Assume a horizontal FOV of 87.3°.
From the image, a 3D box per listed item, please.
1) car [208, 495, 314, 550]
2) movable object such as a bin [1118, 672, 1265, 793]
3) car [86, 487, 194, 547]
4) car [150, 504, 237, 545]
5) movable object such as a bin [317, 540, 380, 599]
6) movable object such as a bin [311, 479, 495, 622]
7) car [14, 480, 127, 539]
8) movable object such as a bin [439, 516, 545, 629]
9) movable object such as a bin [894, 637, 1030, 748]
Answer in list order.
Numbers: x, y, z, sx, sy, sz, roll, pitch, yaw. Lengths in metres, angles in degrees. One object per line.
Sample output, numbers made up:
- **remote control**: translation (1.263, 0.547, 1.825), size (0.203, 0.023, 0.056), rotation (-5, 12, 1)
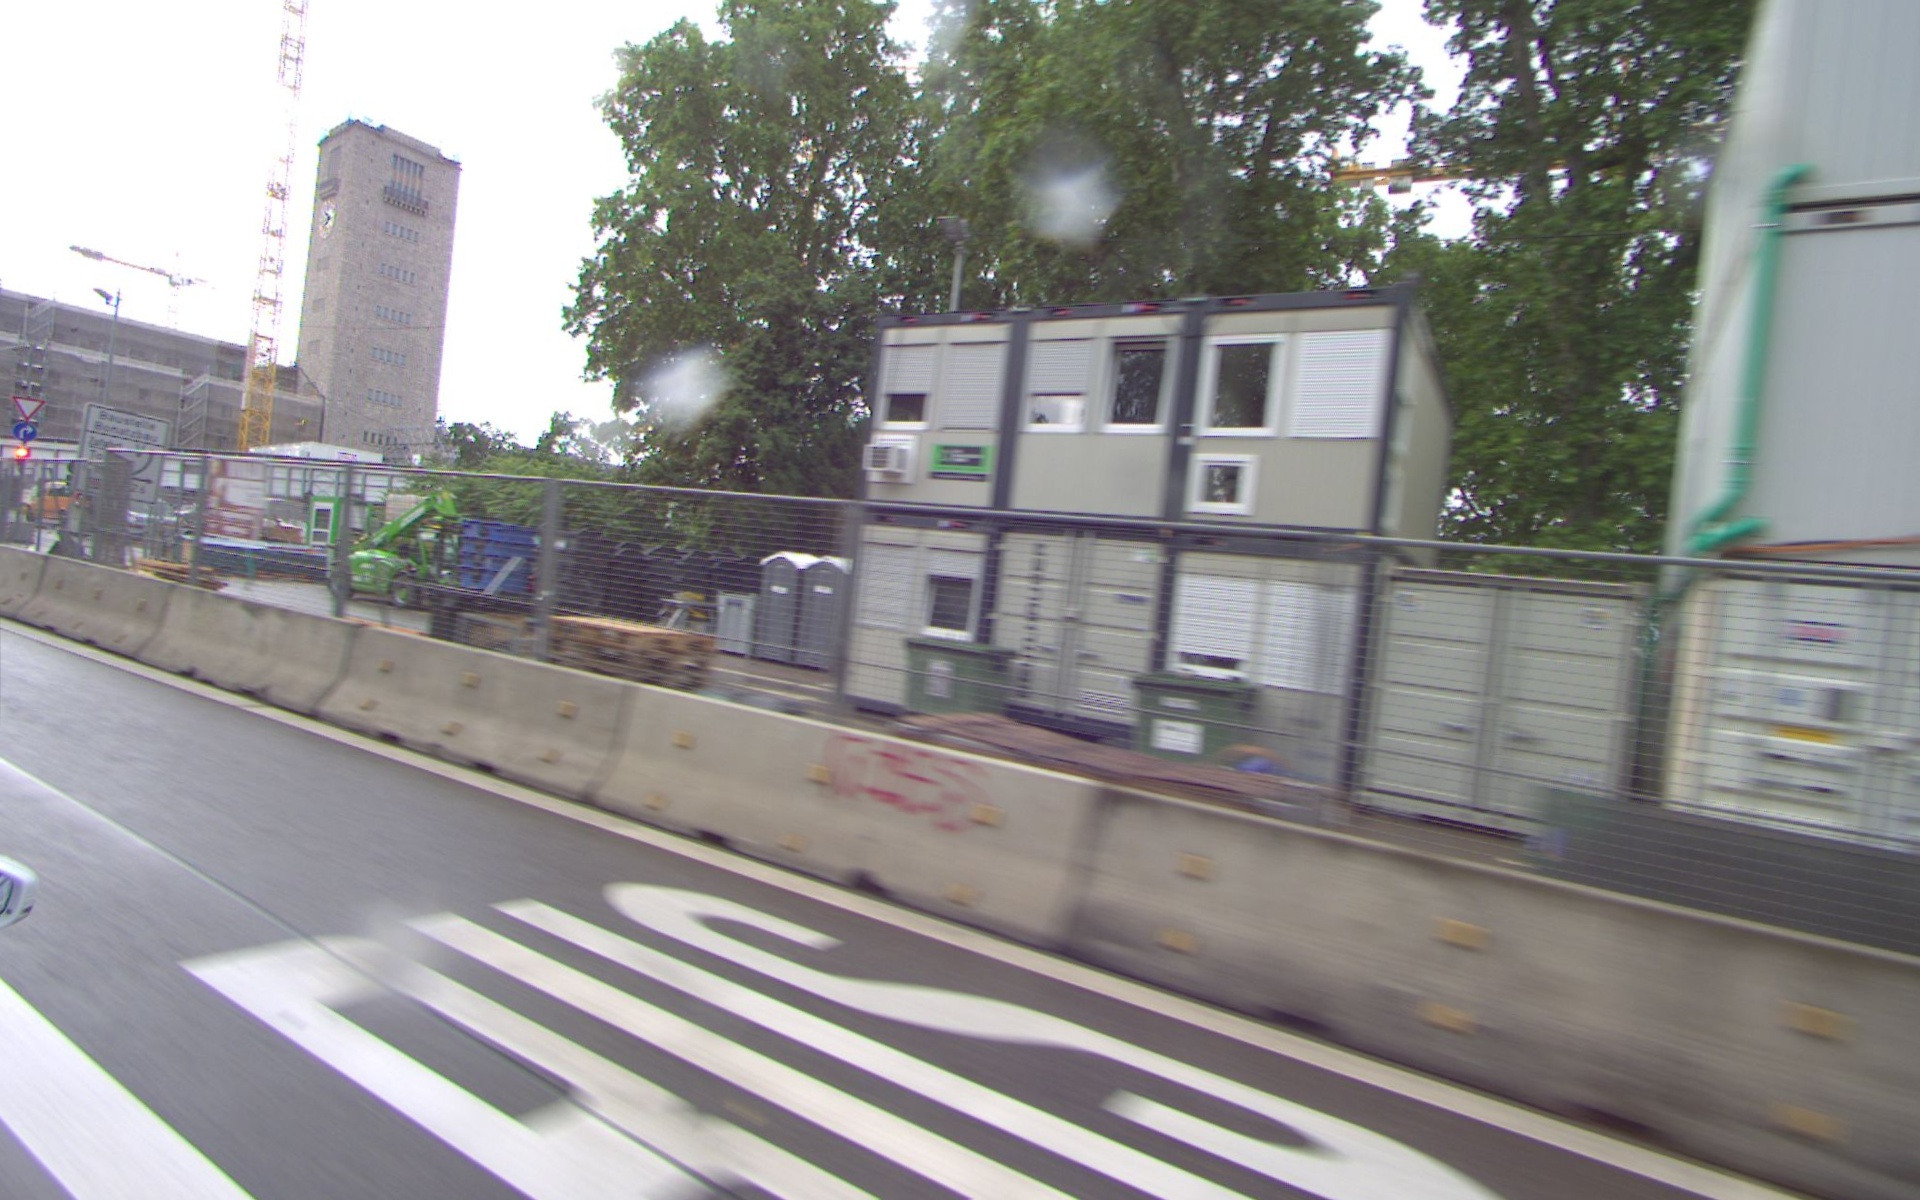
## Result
- **car**: translation (-36.919, -4.099, 53.084), size (5.506, 2.344, 2.048), rotation (6, 2, 26)
- **movable object such as a bin**: translation (2.633, 1.447, 11.373), size (1.219, 1.137, 1.247), rotation (4, 0, 32)
- **car**: translation (-34.036, -3.457, 41.718), size (5.002, 1.829, 1.848), rotation (8, 0, 32)
- **car**: translation (-38.939, -3.835, 51.100), size (3.865, 1.641, 1.942), rotation (7, 2, 26)
- **movable object such as a bin**: translation (-16.347, -0.808, 26.889), size (1.170, 1.361, 1.251), rotation (7, 1, -38)
- **movable object such as a bin**: translation (-13.309, -1.184, 24.016), size (3.798, 2.844, 1.810), rotation (8, 1, 27)
- **car**: translation (-39.257, -4.006, 44.376), size (5.073, 1.999, 1.916), rotation (7, 0, 28)
- **movable object such as a bin**: translation (-10.159, -0.573, 21.909), size (1.241, 2.230, 1.461), rotation (8, 1, 9)
- **movable object such as a bin**: translation (0.035, 1.149, 12.969), size (1.219, 1.253, 1.247), rotation (4, 1, 32)
